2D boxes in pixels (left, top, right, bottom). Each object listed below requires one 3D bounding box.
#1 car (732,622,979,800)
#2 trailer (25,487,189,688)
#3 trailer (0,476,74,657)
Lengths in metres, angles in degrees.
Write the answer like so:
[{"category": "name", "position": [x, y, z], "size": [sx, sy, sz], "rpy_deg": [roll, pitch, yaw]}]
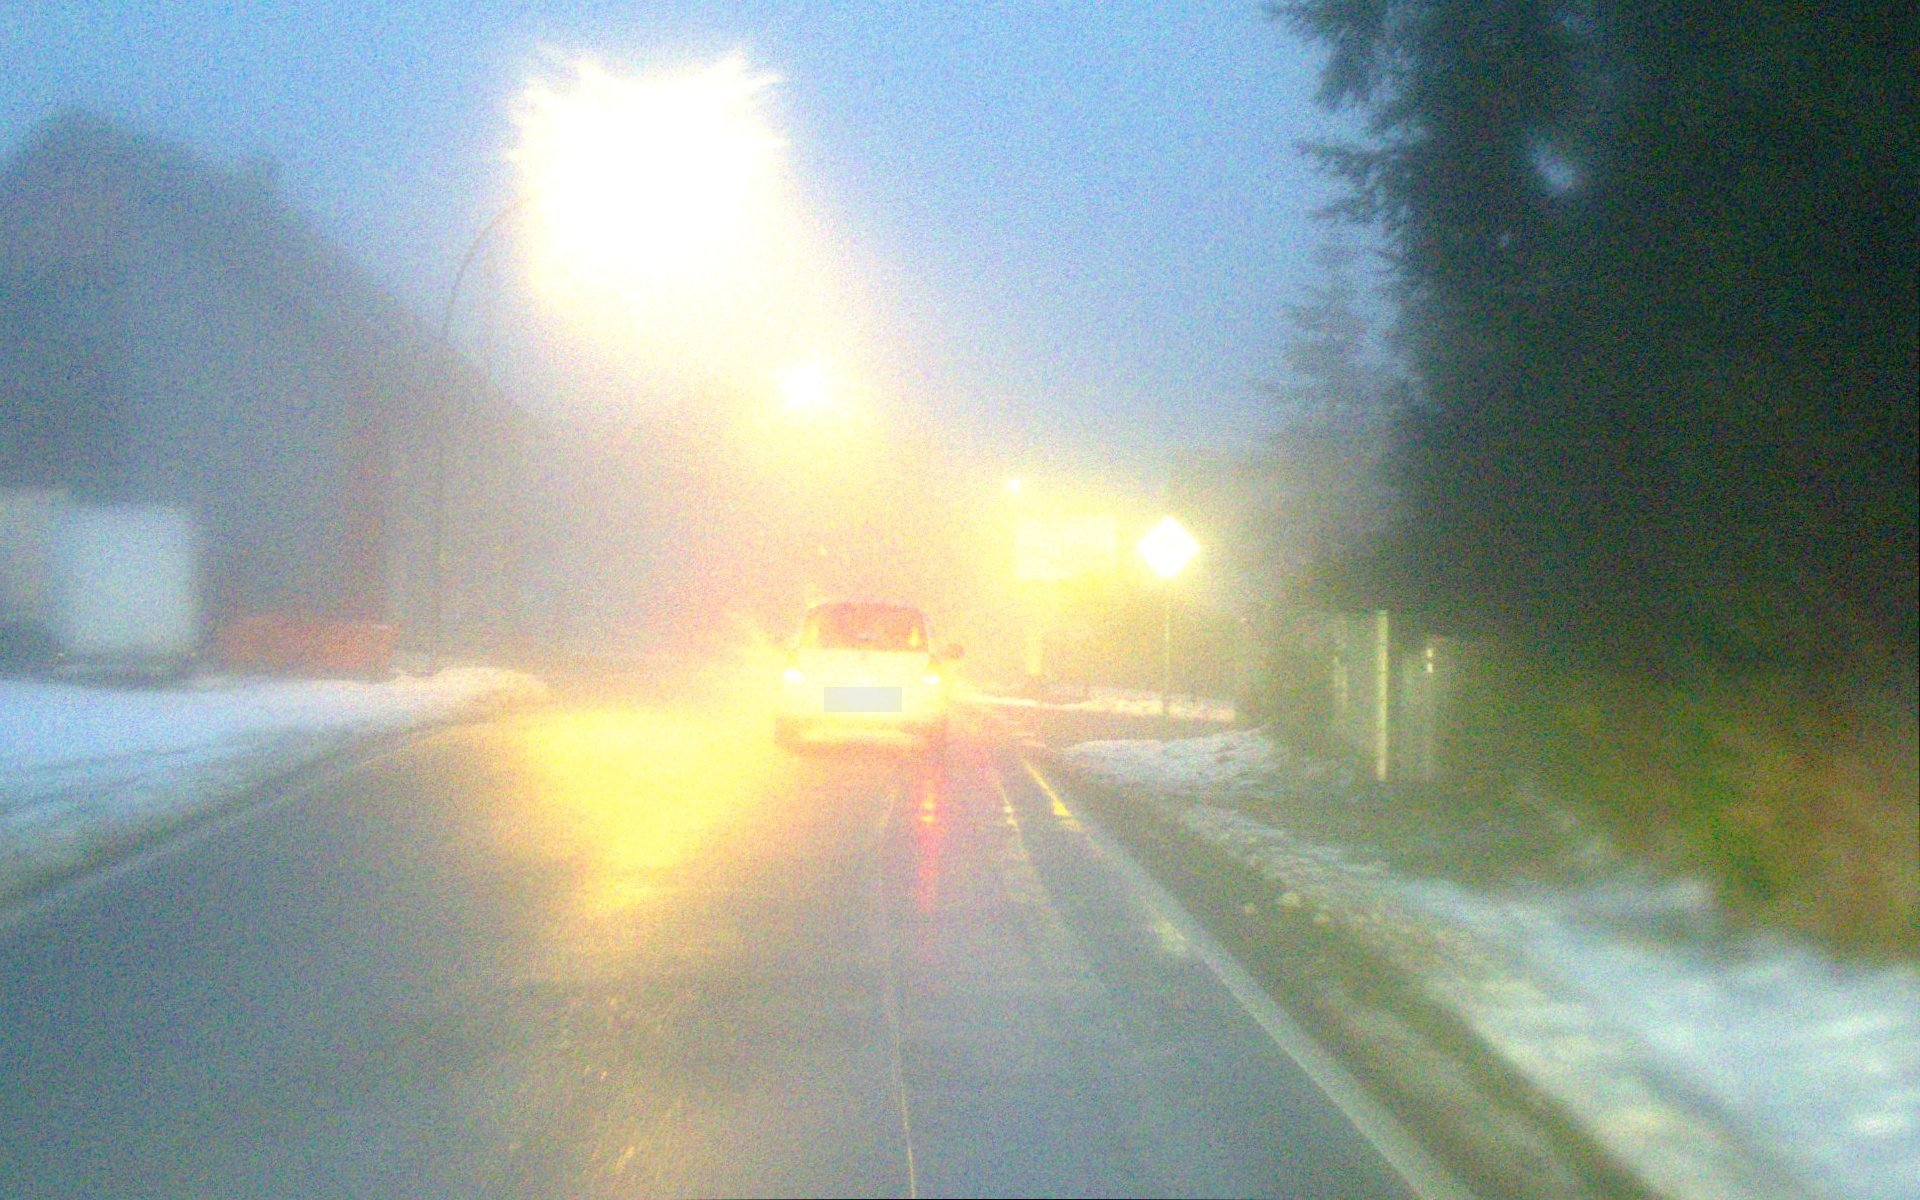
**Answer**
[{"category": "car", "position": [-0.934, 1.016, 32.933], "size": [1.994, 1.503, 4.000], "rpy_deg": [-1, 1, 3]}, {"category": "trailer", "position": [-11.536, -0.175, 46.379], "size": [1.689, 2.596, 3.446], "rpy_deg": [-1, 1, -21]}, {"category": "trailer", "position": [-14.088, -0.452, 47.949], "size": [1.994, 2.481, 4.009], "rpy_deg": [-1, 1, 7]}]
